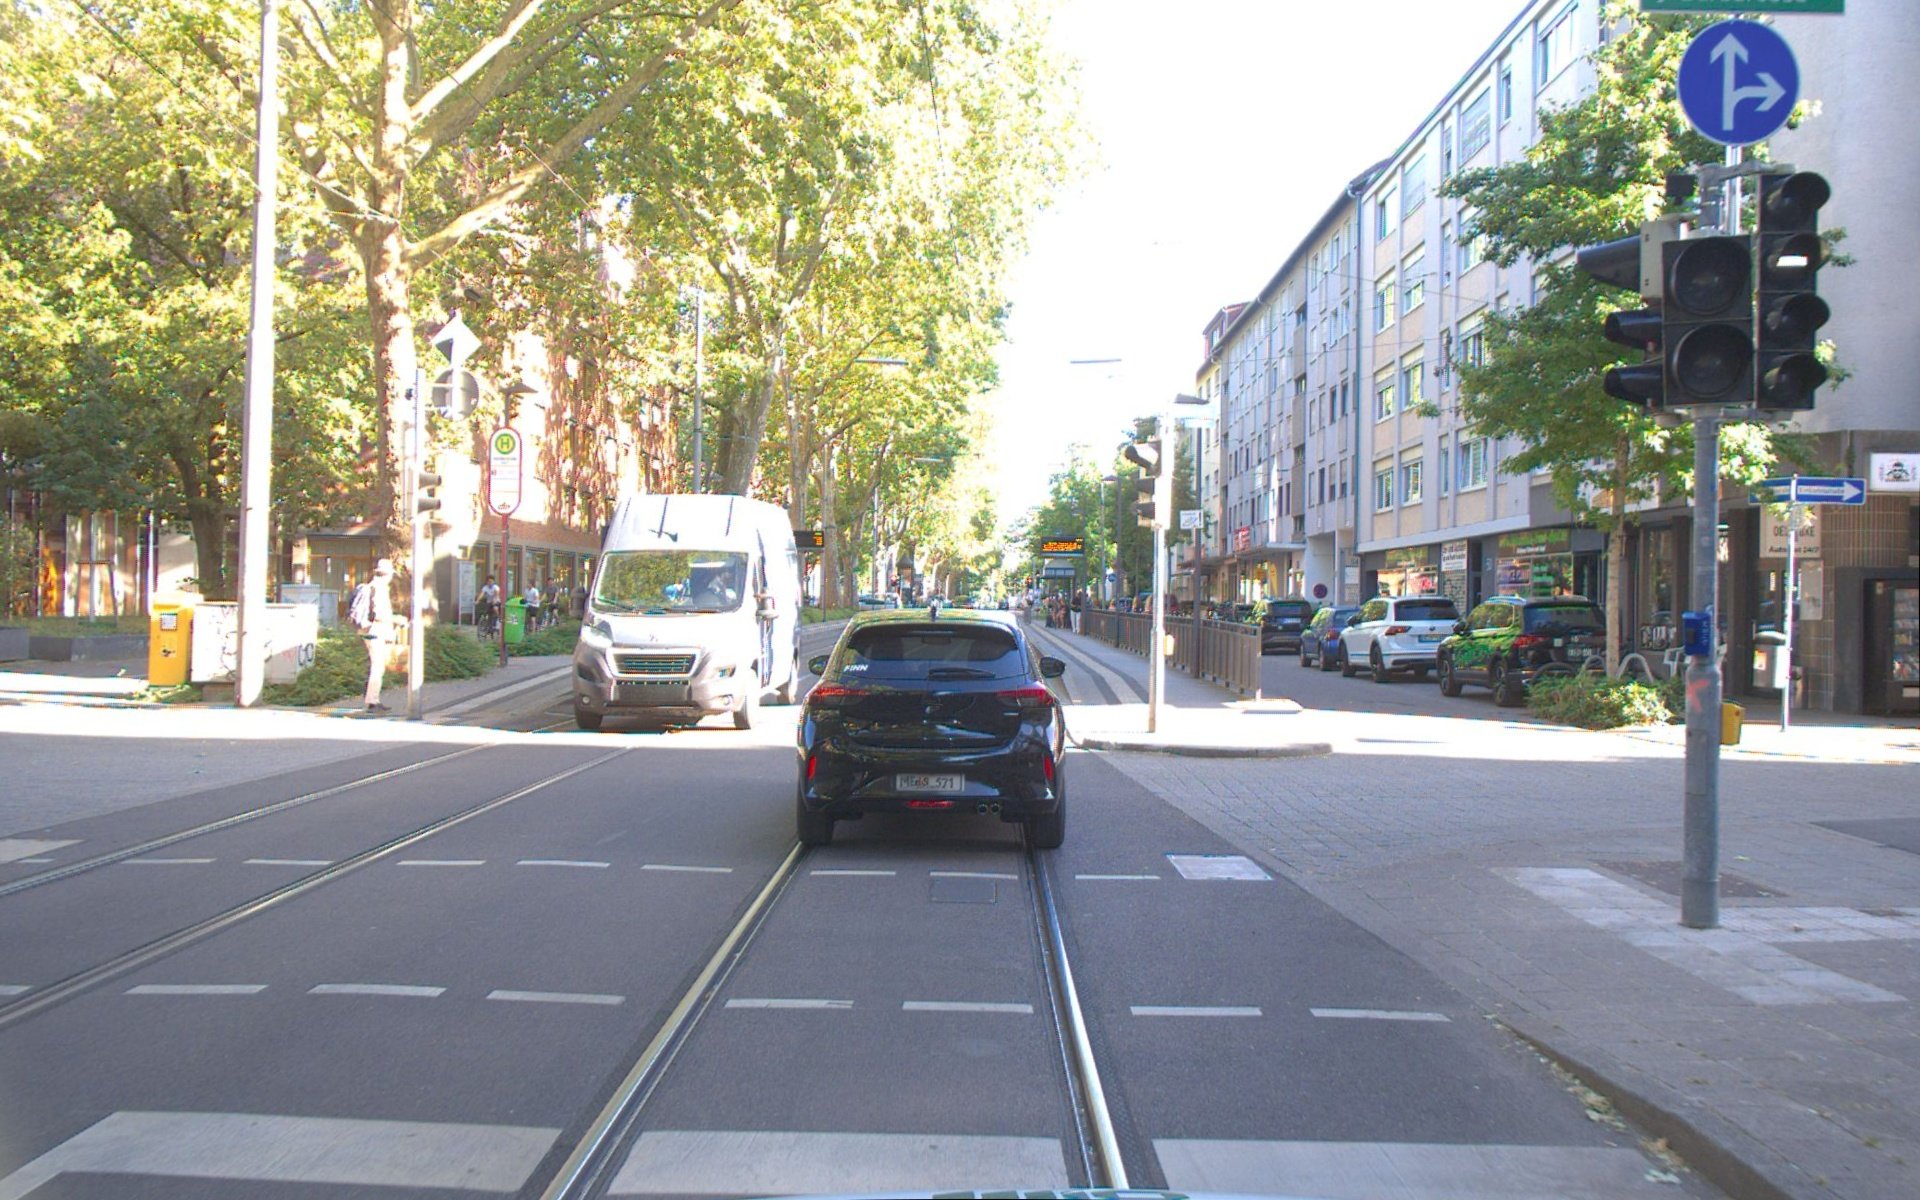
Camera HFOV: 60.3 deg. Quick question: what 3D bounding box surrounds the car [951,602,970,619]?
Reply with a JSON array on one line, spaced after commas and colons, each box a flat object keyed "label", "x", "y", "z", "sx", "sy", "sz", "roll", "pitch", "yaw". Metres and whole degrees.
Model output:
[{"label": "car", "x": 0.057, "y": 1.004, "z": 159.543, "sx": 1.710, "sy": 1.571, "sz": 3.999, "roll": 2, "pitch": 0, "yaw": -1}]

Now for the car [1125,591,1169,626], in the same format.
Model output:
[{"label": "car", "x": 10.181, "y": 0.470, "z": 90.438, "sx": 1.952, "sy": 1.829, "sz": 4.000, "roll": 2, "pitch": 0, "yaw": 0}]

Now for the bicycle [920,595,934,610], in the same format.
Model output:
[{"label": "bicycle", "x": -2.890, "y": 0.241, "z": 145.978, "sx": 0.935, "sy": 1.262, "sz": 2.979, "roll": 1, "pitch": 0, "yaw": 4}]

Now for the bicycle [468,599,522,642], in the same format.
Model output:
[{"label": "bicycle", "x": -12.607, "y": 0.547, "z": 44.932, "sx": 0.766, "sy": 1.130, "sz": 2.595, "roll": 2, "pitch": 0, "yaw": -2}]

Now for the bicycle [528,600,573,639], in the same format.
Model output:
[{"label": "bicycle", "x": -12.536, "y": 0.589, "z": 50.722, "sx": 0.766, "sy": 1.130, "sz": 2.595, "roll": 2, "pitch": 0, "yaw": -2}]

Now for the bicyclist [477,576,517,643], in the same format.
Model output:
[{"label": "bicyclist", "x": -12.582, "y": 0.259, "z": 44.937, "sx": 0.759, "sy": 1.780, "sz": 0.997, "roll": 1, "pitch": -1, "yaw": -1}]

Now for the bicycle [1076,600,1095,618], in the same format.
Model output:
[{"label": "bicycle", "x": 8.245, "y": 0.615, "z": 109.107, "sx": 0.844, "sy": 1.156, "sz": 2.393, "roll": 2, "pitch": 0, "yaw": -5}]

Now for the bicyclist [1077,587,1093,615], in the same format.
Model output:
[{"label": "bicyclist", "x": 8.249, "y": 0.083, "z": 109.206, "sx": 0.844, "sy": 1.790, "sz": 1.052, "roll": 2, "pitch": -1, "yaw": -5}]

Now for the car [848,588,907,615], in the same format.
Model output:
[{"label": "car", "x": -6.252, "y": 0.124, "z": 125.355, "sx": 4.300, "sy": 1.884, "sz": 1.997, "roll": 2, "pitch": -1, "yaw": -6}]

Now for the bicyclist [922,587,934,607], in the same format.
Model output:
[{"label": "bicyclist", "x": -2.804, "y": -0.261, "z": 146.894, "sx": 0.921, "sy": 1.732, "sz": 1.153, "roll": 1, "pitch": -1, "yaw": 4}]

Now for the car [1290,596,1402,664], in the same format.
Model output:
[{"label": "car", "x": 9.047, "y": 0.687, "z": 39.054, "sx": 1.708, "sy": 1.465, "sz": 4.247, "roll": 2, "pitch": 0, "yaw": 1}]

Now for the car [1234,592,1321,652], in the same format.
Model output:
[{"label": "car", "x": 9.444, "y": 0.645, "z": 49.457, "sx": 1.819, "sy": 1.644, "sz": 4.398, "roll": 2, "pitch": 0, "yaw": 1}]

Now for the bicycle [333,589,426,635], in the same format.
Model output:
[{"label": "bicycle", "x": -16.198, "y": 0.348, "z": 46.187, "sx": 2.292, "sy": 1.186, "sz": 0.682, "roll": 2, "pitch": -1, "yaw": 1}]

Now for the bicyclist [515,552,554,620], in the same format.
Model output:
[{"label": "bicyclist", "x": -11.538, "y": -0.373, "z": 44.869, "sx": 0.766, "sy": 1.794, "sz": 0.951, "roll": 1, "pitch": -1, "yaw": -2}]

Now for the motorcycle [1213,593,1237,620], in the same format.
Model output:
[{"label": "motorcycle", "x": 13.344, "y": 0.330, "z": 83.292, "sx": 0.873, "sy": 1.302, "sz": 2.043, "roll": 1, "pitch": 0, "yaw": 1}]

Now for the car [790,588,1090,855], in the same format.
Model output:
[{"label": "car", "x": -0.143, "y": 0.713, "z": 11.392, "sx": 1.724, "sy": 1.534, "sz": 3.682, "roll": 0, "pitch": 0, "yaw": -1}]

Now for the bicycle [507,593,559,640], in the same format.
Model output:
[{"label": "bicycle", "x": -11.577, "y": 0.441, "z": 44.894, "sx": 0.766, "sy": 1.212, "sz": 2.595, "roll": 2, "pitch": 0, "yaw": -2}]

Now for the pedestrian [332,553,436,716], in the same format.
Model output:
[{"label": "pedestrian", "x": -6.845, "y": 0.394, "z": 19.692, "sx": 0.905, "sy": 1.867, "sz": 0.920, "roll": 1, "pitch": 2, "yaw": -3}]

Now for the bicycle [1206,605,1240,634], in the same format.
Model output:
[{"label": "bicycle", "x": 10.869, "y": 0.798, "z": 68.444, "sx": 0.610, "sy": 1.156, "sz": 2.433, "roll": 2, "pitch": 0, "yaw": -10}]

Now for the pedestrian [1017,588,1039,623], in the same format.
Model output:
[{"label": "pedestrian", "x": 3.396, "y": 0.281, "z": 82.363, "sx": 0.737, "sy": 1.739, "sz": 0.760, "roll": 1, "pitch": -1, "yaw": 36}]

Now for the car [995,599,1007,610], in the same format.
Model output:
[{"label": "car", "x": 5.958, "y": 0.670, "z": 240.813, "sx": 1.710, "sy": 1.571, "sz": 3.999, "roll": 2, "pitch": 0, "yaw": -1}]

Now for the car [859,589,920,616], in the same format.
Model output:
[{"label": "car", "x": -4.846, "y": 0.186, "z": 113.385, "sx": 4.035, "sy": 1.730, "sz": 1.881, "roll": 2, "pitch": -1, "yaw": -6}]

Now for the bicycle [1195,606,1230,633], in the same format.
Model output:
[{"label": "bicycle", "x": 11.049, "y": 0.829, "z": 72.402, "sx": 0.600, "sy": 1.156, "sz": 2.914, "roll": 2, "pitch": 0, "yaw": -10}]

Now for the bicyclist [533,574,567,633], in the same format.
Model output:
[{"label": "bicyclist", "x": -12.531, "y": 0.109, "z": 50.615, "sx": 0.759, "sy": 1.780, "sz": 0.997, "roll": 1, "pitch": -1, "yaw": -1}]

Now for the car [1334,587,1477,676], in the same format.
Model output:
[{"label": "car", "x": 8.912, "y": 0.614, "z": 33.429, "sx": 1.762, "sy": 1.634, "sz": 4.415, "roll": 2, "pitch": 0, "yaw": 1}]

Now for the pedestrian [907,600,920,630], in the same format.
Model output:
[{"label": "pedestrian", "x": -3.290, "y": 1.060, "z": 117.641, "sx": 0.661, "sy": 2.048, "sz": 0.702, "roll": 3, "pitch": 0, "yaw": 13}]

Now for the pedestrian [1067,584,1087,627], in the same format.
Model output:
[{"label": "pedestrian", "x": 4.490, "y": 0.214, "z": 63.465, "sx": 0.618, "sy": 1.603, "sz": 0.871, "roll": 3, "pitch": 0, "yaw": 1}]

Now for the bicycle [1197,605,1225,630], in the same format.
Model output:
[{"label": "bicycle", "x": 11.517, "y": 0.796, "z": 75.934, "sx": 0.586, "sy": 1.156, "sz": 2.199, "roll": 2, "pitch": 0, "yaw": -10}]

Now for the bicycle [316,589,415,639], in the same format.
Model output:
[{"label": "bicycle", "x": -16.335, "y": 0.381, "z": 45.465, "sx": 2.407, "sy": 1.240, "sz": 0.682, "roll": 3, "pitch": -1, "yaw": 1}]

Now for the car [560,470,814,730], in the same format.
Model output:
[{"label": "car", "x": -3.204, "y": 0.020, "z": 20.808, "sx": 2.070, "sy": 2.786, "sz": 6.115, "roll": 0, "pitch": 0, "yaw": 1}]

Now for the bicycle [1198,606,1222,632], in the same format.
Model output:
[{"label": "bicycle", "x": 11.256, "y": 0.845, "z": 74.533, "sx": 0.402, "sy": 1.156, "sz": 2.199, "roll": 2, "pitch": 0, "yaw": -10}]

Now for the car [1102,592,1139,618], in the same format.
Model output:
[{"label": "car", "x": 9.959, "y": 0.339, "z": 102.781, "sx": 1.952, "sy": 1.512, "sz": 4.000, "roll": 2, "pitch": 0, "yaw": 1}]

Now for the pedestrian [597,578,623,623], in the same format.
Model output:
[{"label": "pedestrian", "x": -13.370, "y": 0.015, "z": 63.204, "sx": 0.720, "sy": 1.701, "sz": 0.861, "roll": 1, "pitch": -1, "yaw": 1}]

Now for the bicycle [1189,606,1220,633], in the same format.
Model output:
[{"label": "bicycle", "x": 10.460, "y": 0.825, "z": 70.861, "sx": 0.591, "sy": 1.156, "sz": 2.429, "roll": 2, "pitch": 0, "yaw": -10}]

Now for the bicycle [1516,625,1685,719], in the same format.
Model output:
[{"label": "bicycle", "x": 8.877, "y": 0.985, "z": 22.993, "sx": 2.081, "sy": 1.208, "sz": 0.681, "roll": 1, "pitch": -1, "yaw": 9}]

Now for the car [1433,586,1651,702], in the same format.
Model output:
[{"label": "car", "x": 9.076, "y": 0.653, "z": 26.211, "sx": 1.952, "sy": 1.644, "sz": 4.445, "roll": 1, "pitch": 0, "yaw": 1}]

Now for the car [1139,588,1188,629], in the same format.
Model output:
[{"label": "car", "x": 10.297, "y": 0.427, "z": 83.852, "sx": 1.952, "sy": 1.986, "sz": 4.000, "roll": 2, "pitch": 0, "yaw": 0}]
